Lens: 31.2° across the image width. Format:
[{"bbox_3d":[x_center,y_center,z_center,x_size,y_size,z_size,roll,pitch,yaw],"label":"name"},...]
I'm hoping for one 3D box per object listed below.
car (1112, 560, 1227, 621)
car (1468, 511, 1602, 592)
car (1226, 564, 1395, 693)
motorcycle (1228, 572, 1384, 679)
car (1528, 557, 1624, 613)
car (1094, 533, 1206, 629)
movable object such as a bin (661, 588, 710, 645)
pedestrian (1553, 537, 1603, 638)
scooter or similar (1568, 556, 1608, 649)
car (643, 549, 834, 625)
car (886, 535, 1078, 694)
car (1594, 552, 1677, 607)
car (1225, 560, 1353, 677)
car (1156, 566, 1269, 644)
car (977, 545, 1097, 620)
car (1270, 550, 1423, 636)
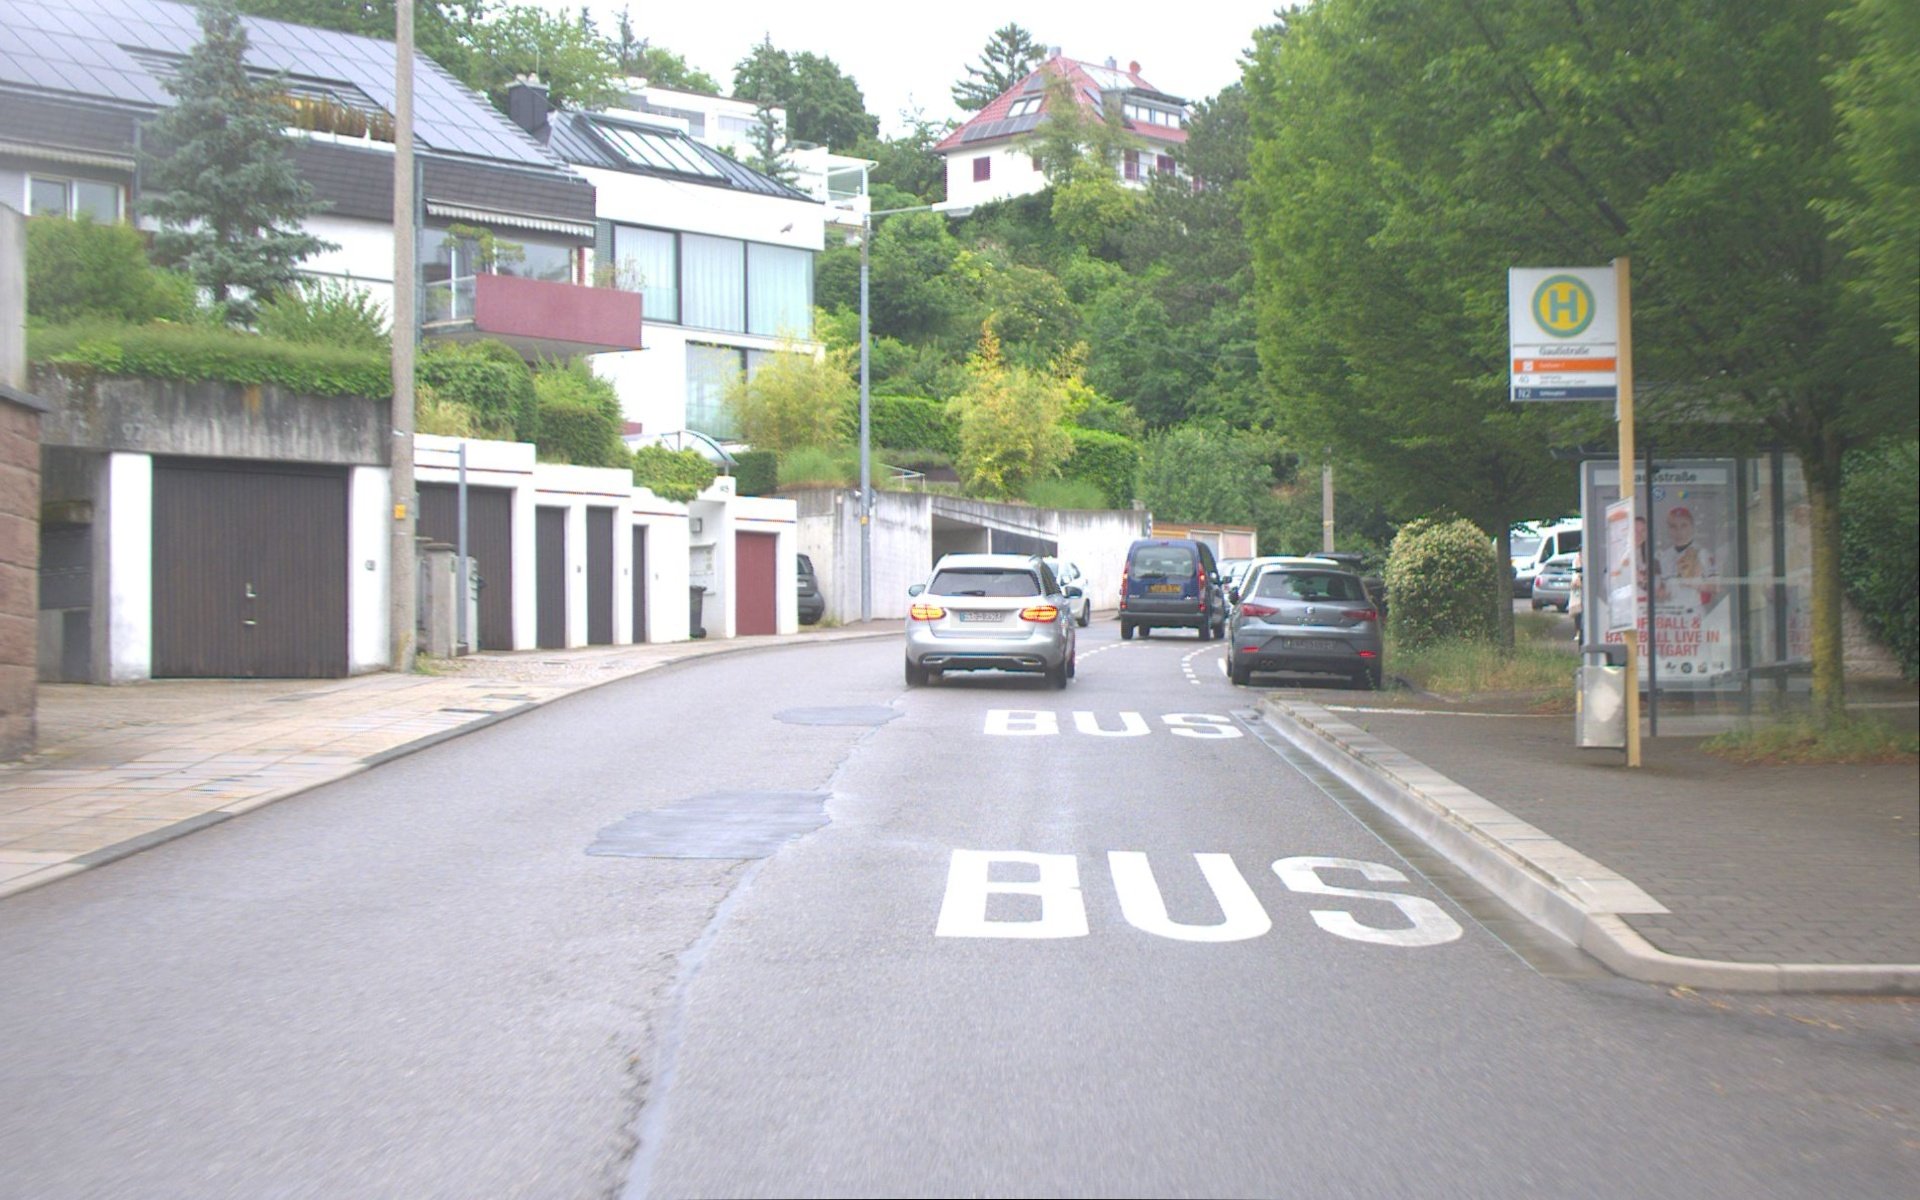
[{"bbox_3d":[5.193,-0.251,84.765,1.834,1.435,4.036,-1,1,19],"label":"car"},{"bbox_3d":[19.090,-1.627,113.968,2.098,2.541,6.086,-1,1,33],"label":"car"},{"bbox_3d":[4.144,0.299,41.230,1.878,1.412,4.467,0,1,4],"label":"car"},{"bbox_3d":[4.462,0.328,44.478,1.913,1.325,0.787,1,1,0],"label":"motorcycle"},{"bbox_3d":[16.929,-0.422,94.413,1.671,1.466,3.705,2,2,25],"label":"car"},{"bbox_3d":[3.517,-0.361,63.391,1.994,1.702,4.000,0,1,3],"label":"car"},{"bbox_3d":[-4.784,0.282,59.964,0.544,0.960,0.644,1,1,41],"label":"movable object such as a bin"},{"bbox_3d":[10.785,-0.224,60.037,0.760,1.714,0.902,-3,0,10],"label":"pedestrian"},{"bbox_3d":[8.476,0.025,46.408,0.413,1.241,1.175,-1,1,5],"label":"scooter or similar"},{"bbox_3d":[-4.643,-0.290,71.786,3.929,1.473,1.763,2,2,43],"label":"car"},{"bbox_3d":[0.189,0.130,38.970,2.025,1.702,4.216,0,1,-2],"label":"car"},{"bbox_3d":[19.822,-0.611,100.766,1.629,1.557,3.018,1,1,27],"label":"car"},{"bbox_3d":[4.522,0.217,47.307,1.657,1.484,3.999,1,1,5],"label":"car"},{"bbox_3d":[5.734,0.094,77.648,1.994,1.702,3.998,0,1,12],"label":"car"},{"bbox_3d":[1.670,-0.388,73.259,1.628,1.510,3.830,-1,1,15],"label":"car"},{"bbox_3d":[7.791,-0.162,68.809,2.056,1.650,5.231,0,1,18],"label":"car"}]
